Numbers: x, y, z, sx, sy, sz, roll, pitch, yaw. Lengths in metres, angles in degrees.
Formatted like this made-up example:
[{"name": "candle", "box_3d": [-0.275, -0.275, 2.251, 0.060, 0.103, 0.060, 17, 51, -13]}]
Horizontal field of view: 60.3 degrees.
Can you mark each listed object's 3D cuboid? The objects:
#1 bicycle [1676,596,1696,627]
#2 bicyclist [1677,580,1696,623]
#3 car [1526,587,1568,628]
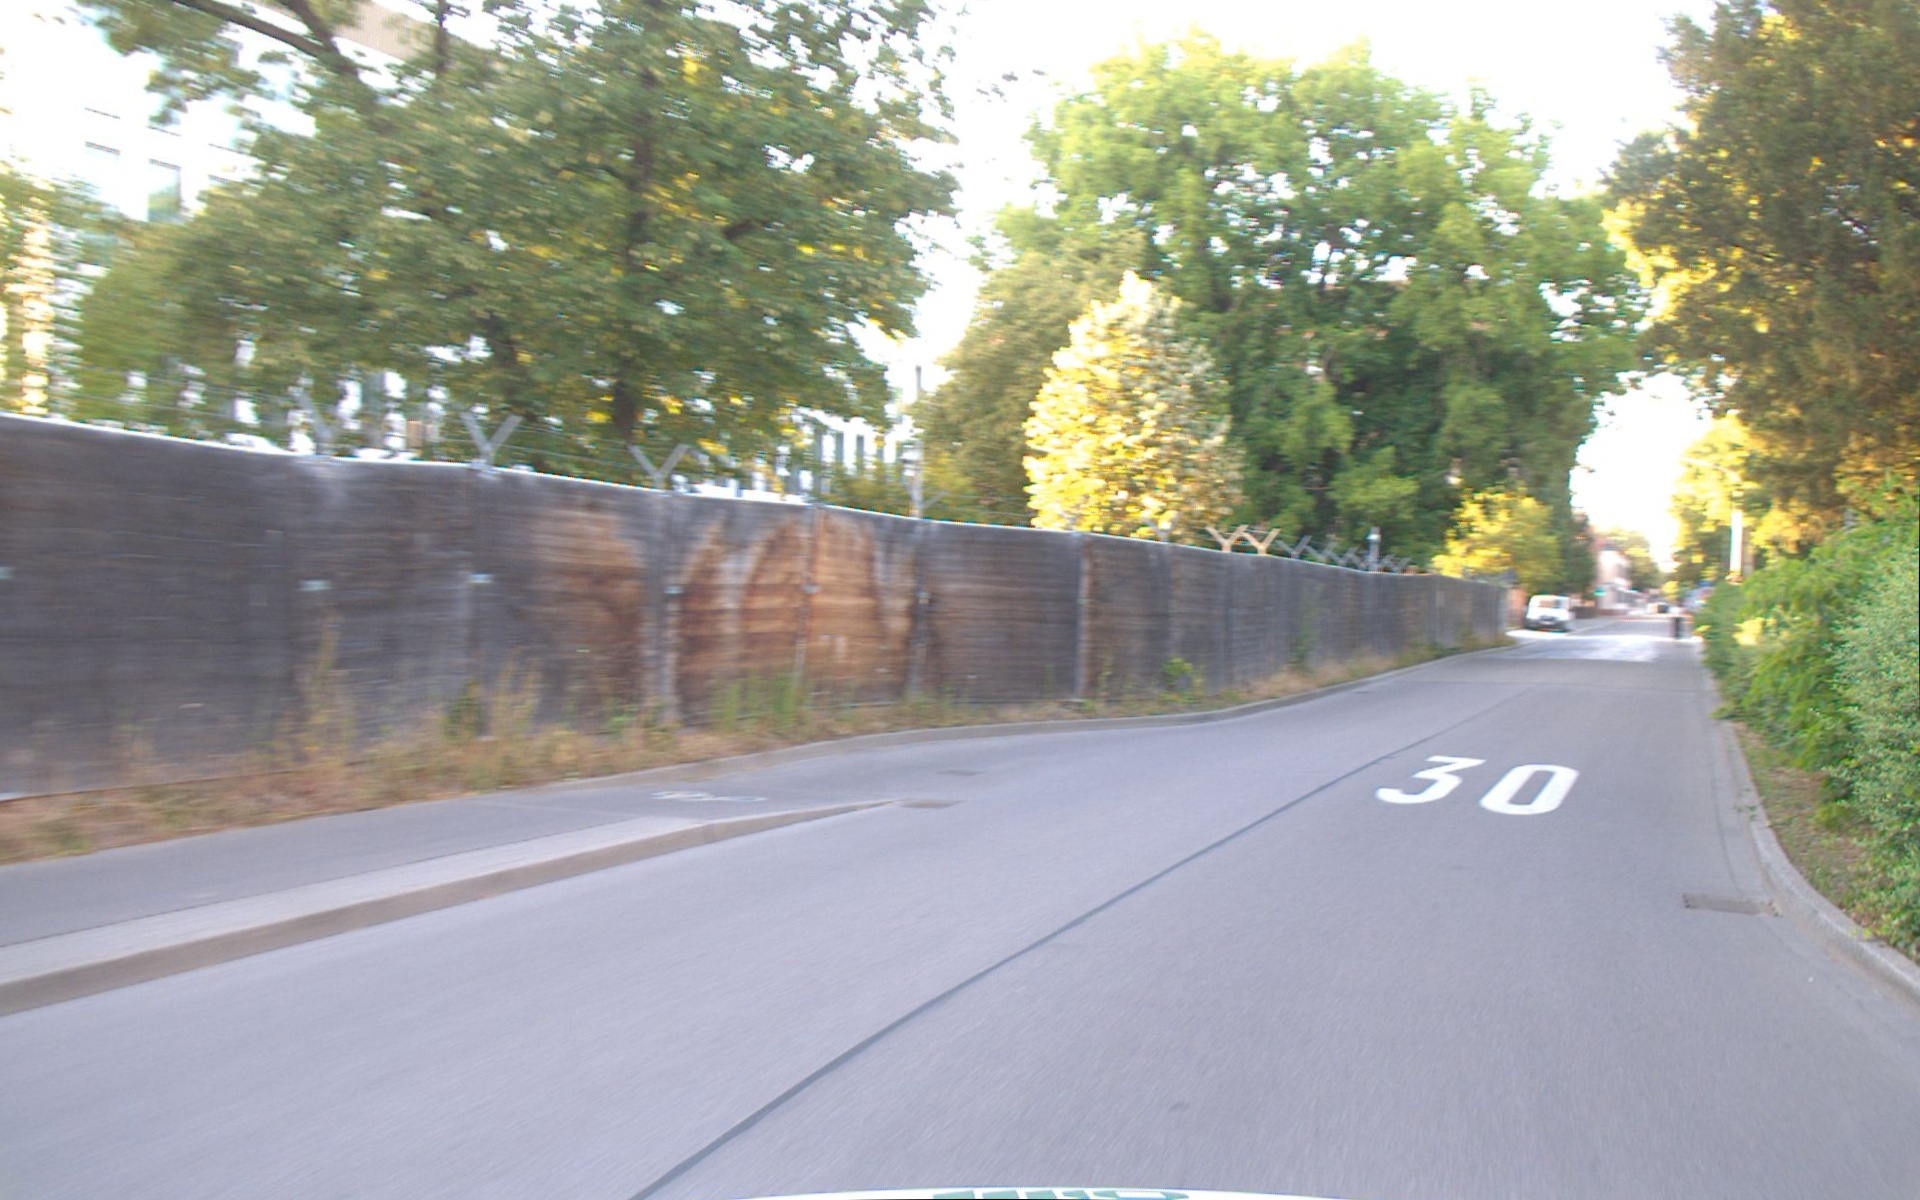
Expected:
[{"name": "bicycle", "box_3d": [29.558, 0.459, 67.348, 0.625, 1.214, 1.875, 2, 0, 22]}, {"name": "bicyclist", "box_3d": [29.575, 0.058, 67.372, 0.626, 1.696, 0.842, 2, 0, 22]}, {"name": "car", "box_3d": [32.004, 0.452, 90.077, 1.844, 2.049, 5.224, 3, 0, 22]}]
